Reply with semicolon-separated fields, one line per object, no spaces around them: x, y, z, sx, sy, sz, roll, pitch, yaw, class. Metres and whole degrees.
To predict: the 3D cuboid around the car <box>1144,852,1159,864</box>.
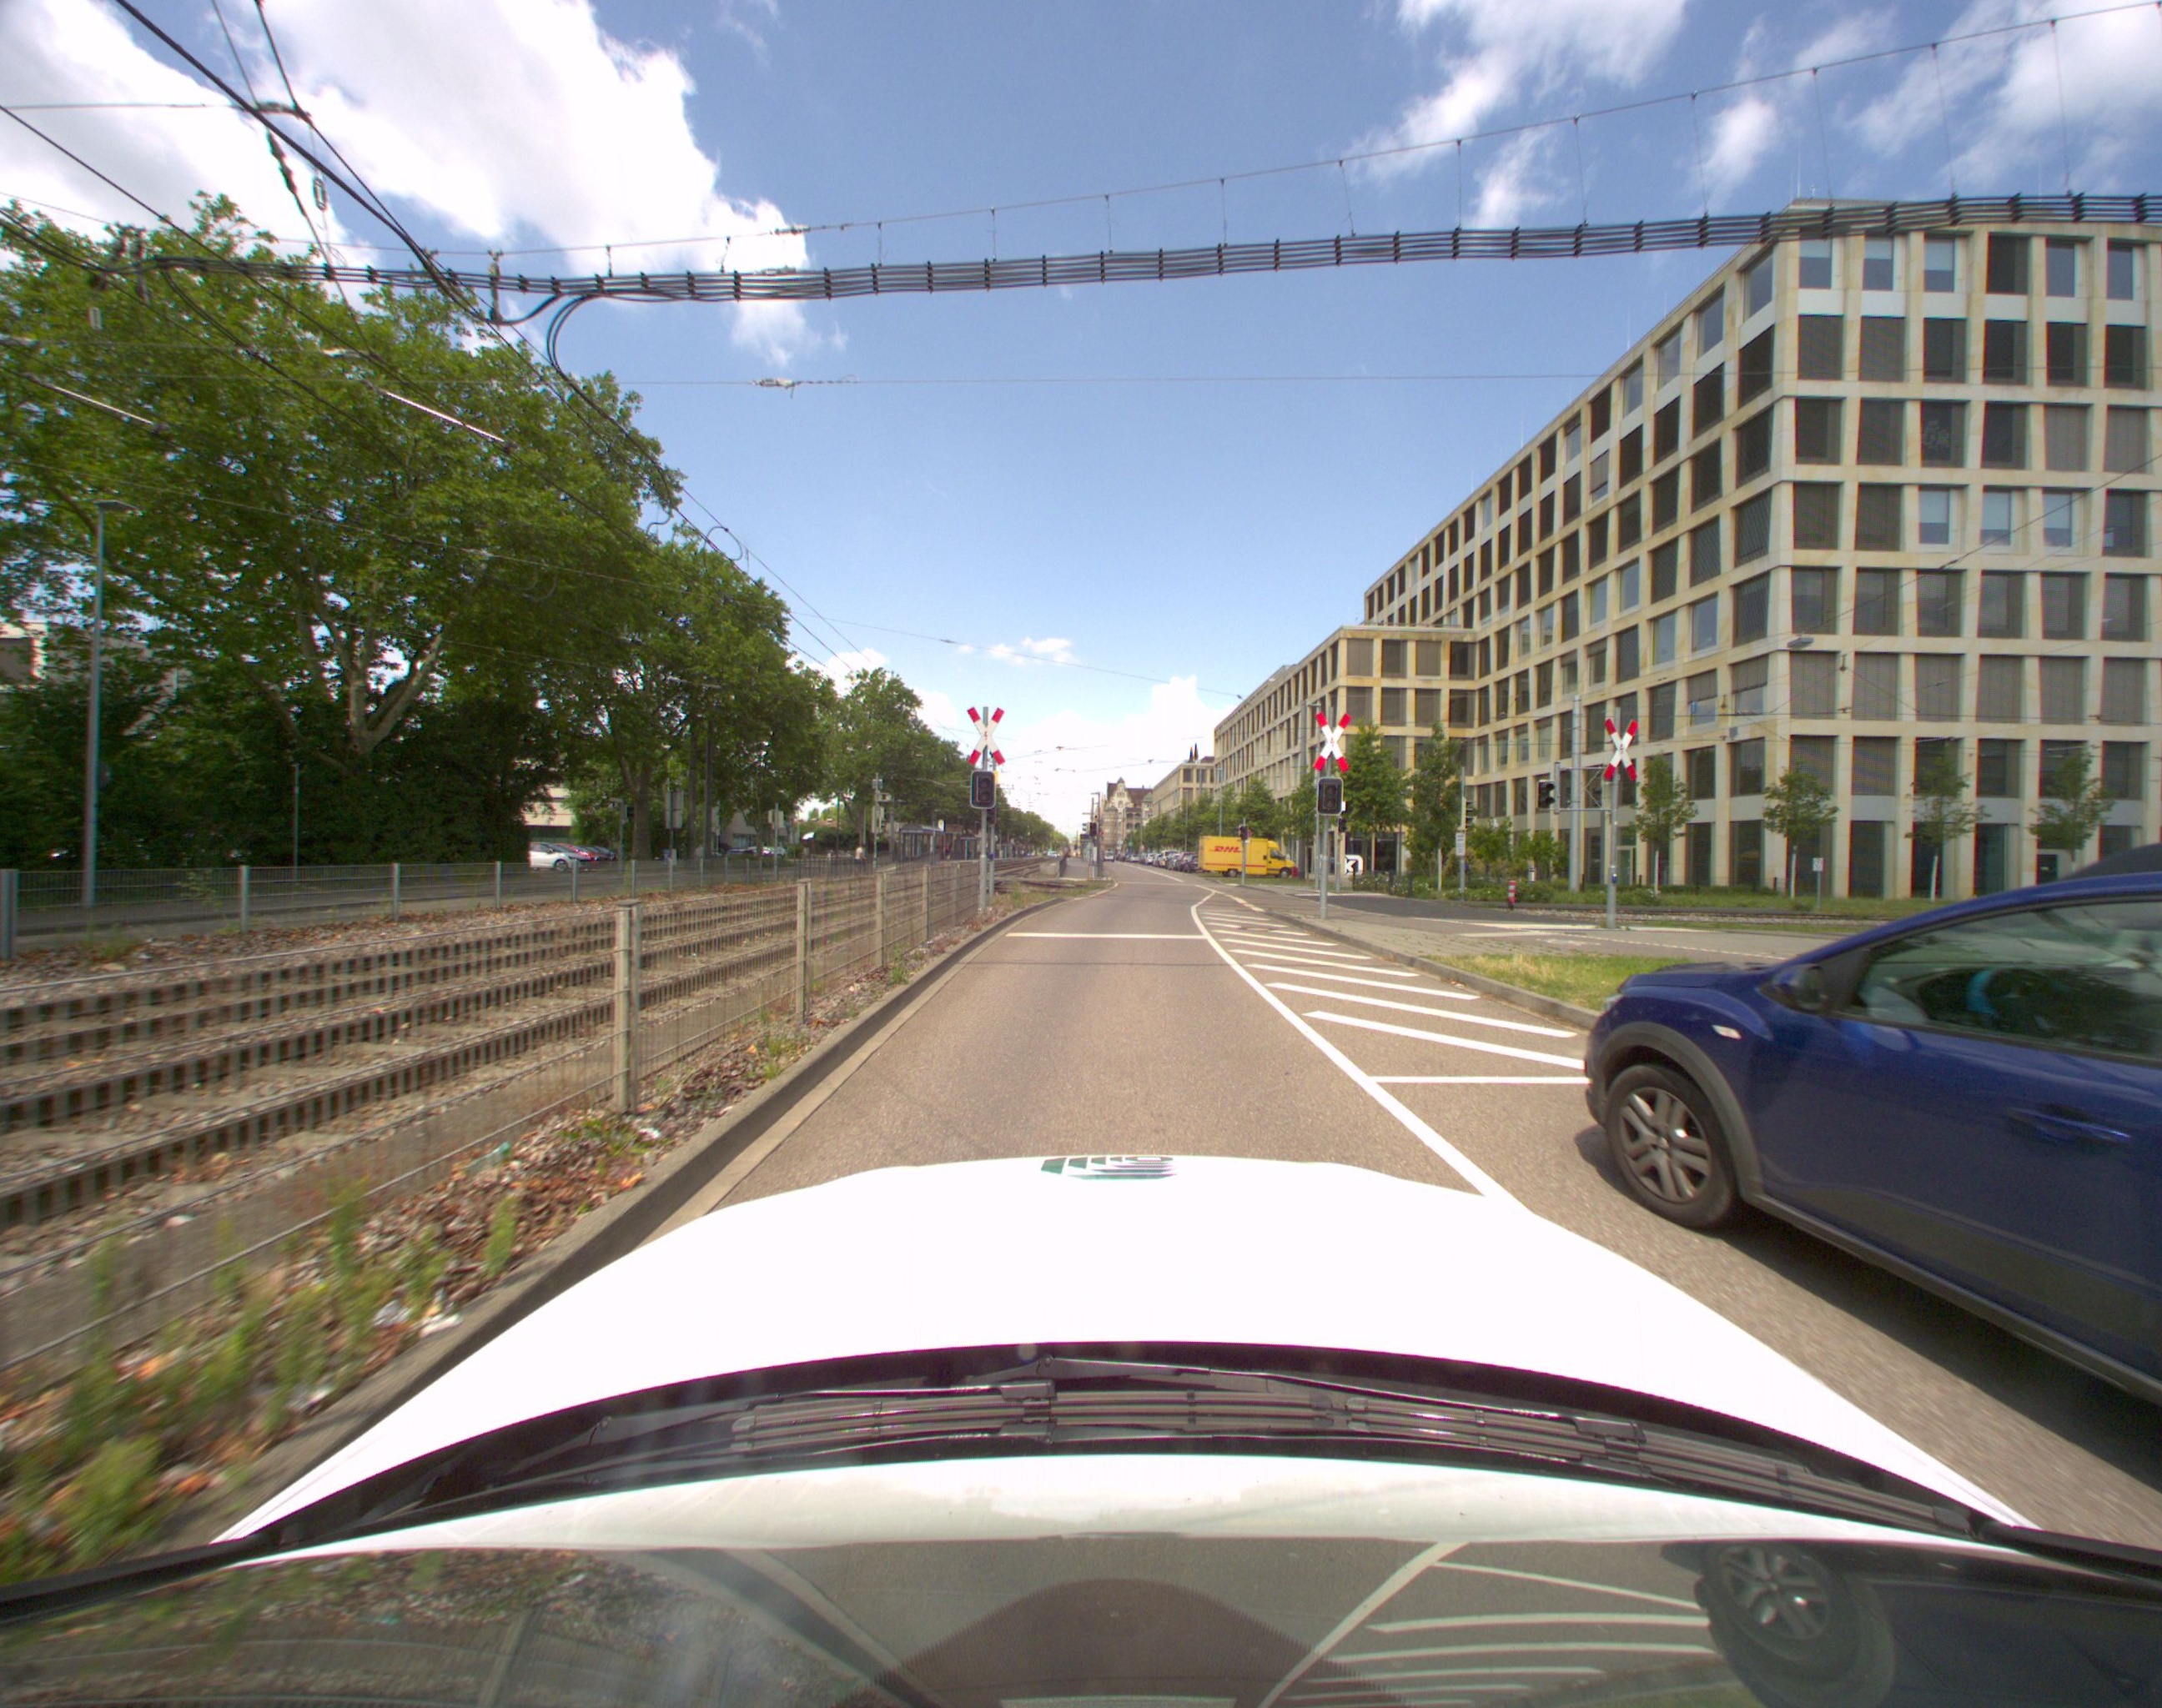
9.476;0.544;109.390;1.680;1.606;4.151;-1;0;0;car

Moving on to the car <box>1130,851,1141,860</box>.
9.518;0.315;142.146;1.585;1.460;3.613;2;0;1;car

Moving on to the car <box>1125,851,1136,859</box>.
9.288;0.178;153.606;1.587;1.434;4.104;2;0;-2;car

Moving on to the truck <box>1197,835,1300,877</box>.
11.738;0.120;57.406;6.789;2.867;2.452;0;0;-3;truck

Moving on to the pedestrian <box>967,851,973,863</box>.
-12.488;0.354;91.979;0.550;1.269;0.768;0;0;1;pedestrian

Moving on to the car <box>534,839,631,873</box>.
-26.400;0.084;43.230;3.978;1.750;1.801;0;0;-4;car

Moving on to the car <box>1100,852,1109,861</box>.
5.341;0.591;187.008;1.987;2.013;4.000;-1;0;0;car

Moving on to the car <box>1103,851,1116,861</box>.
4.892;0.332;140.436;1.863;1.746;3.999;2;0;-1;car

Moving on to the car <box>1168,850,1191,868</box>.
9.362;0.478;77.288;1.715;1.620;3.859;0;0;0;car

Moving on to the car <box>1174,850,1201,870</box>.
9.386;0.506;71.946;1.763;1.767;4.839;0;0;0;car

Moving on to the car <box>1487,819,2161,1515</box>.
3.250;0.673;2.426;1.774;1.540;4.418;-1;0;-2;car

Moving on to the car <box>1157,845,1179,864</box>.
9.439;0.048;88.674;1.876;1.939;4.842;-1;0;0;car

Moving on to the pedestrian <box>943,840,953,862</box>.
-11.162;-0.272;68.267;0.704;1.845;0.864;-1;0;-1;pedestrian

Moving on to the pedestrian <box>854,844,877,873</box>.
-10.235;0.230;38.737;0.860;1.343;0.922;-1;0;-3;pedestrian

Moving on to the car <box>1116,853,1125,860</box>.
8.733;0.486;180.268;1.439;1.470;4.089;-2;0;-2;car

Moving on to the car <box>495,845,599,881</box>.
-26.893;0.423;41.095;3.978;1.750;1.801;0;0;-4;car

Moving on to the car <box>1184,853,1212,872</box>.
9.494;0.675;66.536;1.686;1.504;4.067;0;0;0;car
